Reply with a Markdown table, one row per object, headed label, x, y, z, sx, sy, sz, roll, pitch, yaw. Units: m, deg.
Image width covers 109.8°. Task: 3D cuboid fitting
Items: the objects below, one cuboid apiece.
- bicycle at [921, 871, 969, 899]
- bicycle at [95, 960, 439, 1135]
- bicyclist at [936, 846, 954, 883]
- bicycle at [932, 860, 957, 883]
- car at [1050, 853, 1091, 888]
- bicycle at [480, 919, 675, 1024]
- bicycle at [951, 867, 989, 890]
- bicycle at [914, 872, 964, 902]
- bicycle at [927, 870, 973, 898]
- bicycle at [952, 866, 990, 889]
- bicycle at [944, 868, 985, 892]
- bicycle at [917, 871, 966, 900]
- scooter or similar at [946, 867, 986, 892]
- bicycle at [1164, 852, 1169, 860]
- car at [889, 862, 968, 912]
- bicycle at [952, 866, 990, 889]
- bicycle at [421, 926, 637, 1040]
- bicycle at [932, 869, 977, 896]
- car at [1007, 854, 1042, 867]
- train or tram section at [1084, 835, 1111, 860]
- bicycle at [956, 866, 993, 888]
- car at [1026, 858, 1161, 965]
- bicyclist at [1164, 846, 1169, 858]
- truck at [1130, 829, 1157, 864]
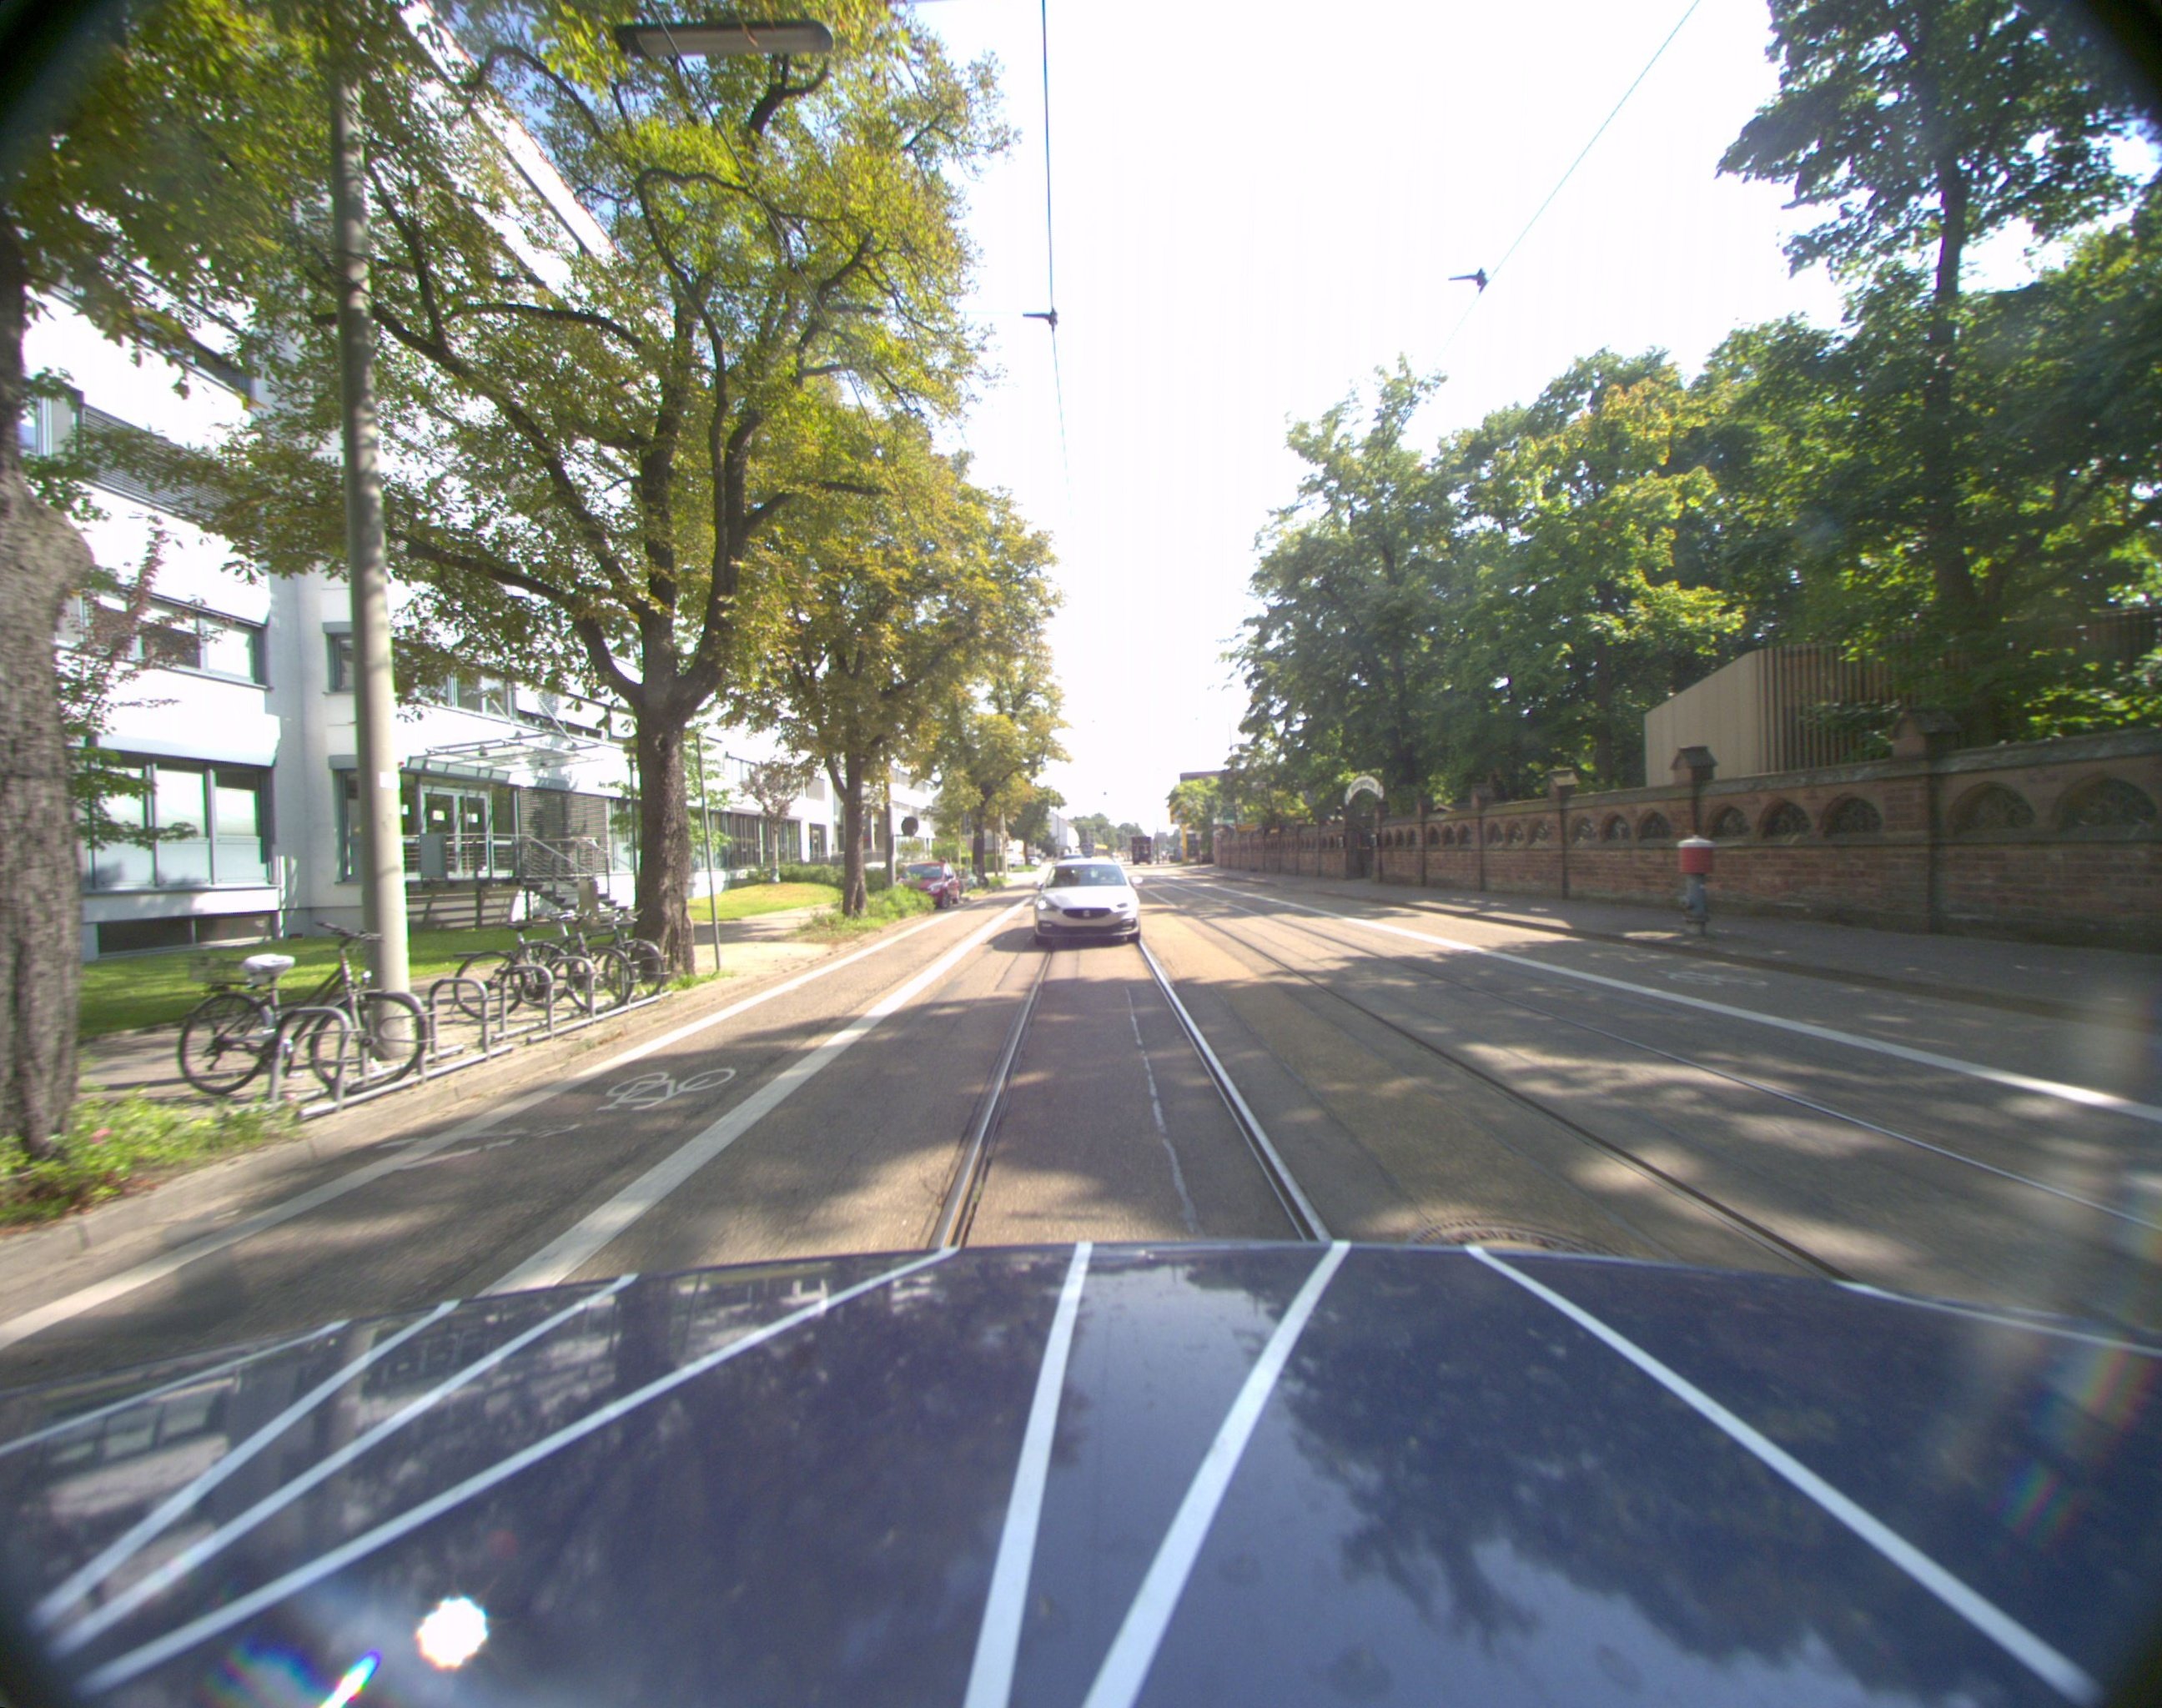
| label | x | y | z | sx | sy | sz | roll | pitch | yaw |
| --- | --- | --- | --- | --- | --- | --- | --- | --- | --- |
| bicycle | -5.392 | 1.225 | 30.182 | 1.775 | 1.065 | 0.540 | -1 | 1 | 0 |
| bicycle | -5.625 | 1.321 | 5.312 | 1.775 | 1.043 | 0.540 | -1 | 1 | 0 |
| bicyclist | -7.502 | 0.566 | 41.890 | 0.783 | 2.002 | 1.273 | -3 | 1 | -6 |
| bicycle | -7.502 | 0.955 | 41.953 | 1.139 | 1.118 | 2.535 | -3 | 1 | -6 |
| car | -0.469 | 0.759 | 37.212 | 1.834 | 1.543 | 4.032 | -2 | 1 | 0 |
| bicycle | -5.571 | 1.294 | 8.469 | 1.775 | 1.043 | 0.540 | -1 | 1 | 0 |
| bicycle | -5.383 | 1.172 | 36.898 | 1.775 | 1.065 | 0.540 | -1 | 1 | 0 |
| bicycle | -5.371 | 1.235 | 28.733 | 1.775 | 1.065 | 0.540 | -1 | 1 | 0 |
| bicycle | -5.334 | 1.216 | 30.993 | 1.775 | 1.065 | 0.540 | -1 | 1 | 0 |
| bicycle | -5.421 | 1.169 | 37.476 | 1.775 | 1.065 | 0.540 | -1 | 1 | 0 |
| bicycle | -5.325 | 1.187 | 34.677 | 1.775 | 1.065 | 0.540 | -1 | 1 | 0 |
| bicycle | -5.425 | 1.232 | 29.508 | 1.775 | 1.065 | 0.540 | -1 | 1 | 0 |
| scooter or similar | -5.340 | 1.183 | 35.265 | 1.775 | 1.065 | 0.540 | -1 | 1 | 0 |
| bicycle | 13.311 | 0.279 | 118.080 | 0.787 | 1.233 | 2.034 | -3 | 1 | 6 |
| car | -5.119 | 1.060 | 26.033 | 1.760 | 1.453 | 4.274 | -1 | 0 | 0 |
| bicycle | -5.410 | 1.169 | 37.498 | 1.775 | 1.065 | 0.540 | -1 | 1 | 0 |
| bicycle | -5.621 | 1.301 | 7.792 | 1.775 | 1.043 | 0.540 | -1 | 1 | 0 |
| bicycle | -5.324 | 1.207 | 32.095 | 1.775 | 1.065 | 0.540 | -1 | 1 | 0 |
| car | -7.647 | 0.894 | 102.939 | 4.552 | 1.506 | 1.960 | -3 | 1 | -4 |
| train or tram section | 3.018 | -1.129 | 133.383 | 4.111 | 3.711 | 24.378 | -2 | 0 | 2 |
| bicycle | -5.356 | 1.161 | 38.194 | 1.775 | 1.065 | 0.540 | -1 | 1 | 0 |
| car | 0.182 | 0.862 | 13.575 | 1.928 | 1.465 | 4.816 | -2 | 0 | 0 |
| bicyclist | 13.292 | -0.304 | 118.241 | 0.642 | 1.918 | 1.176 | -2 | 1 | 9 |
| truck | 9.005 | -1.067 | 107.477 | 3.171 | 4.427 | 16.846 | -2 | 0 | 7 |
